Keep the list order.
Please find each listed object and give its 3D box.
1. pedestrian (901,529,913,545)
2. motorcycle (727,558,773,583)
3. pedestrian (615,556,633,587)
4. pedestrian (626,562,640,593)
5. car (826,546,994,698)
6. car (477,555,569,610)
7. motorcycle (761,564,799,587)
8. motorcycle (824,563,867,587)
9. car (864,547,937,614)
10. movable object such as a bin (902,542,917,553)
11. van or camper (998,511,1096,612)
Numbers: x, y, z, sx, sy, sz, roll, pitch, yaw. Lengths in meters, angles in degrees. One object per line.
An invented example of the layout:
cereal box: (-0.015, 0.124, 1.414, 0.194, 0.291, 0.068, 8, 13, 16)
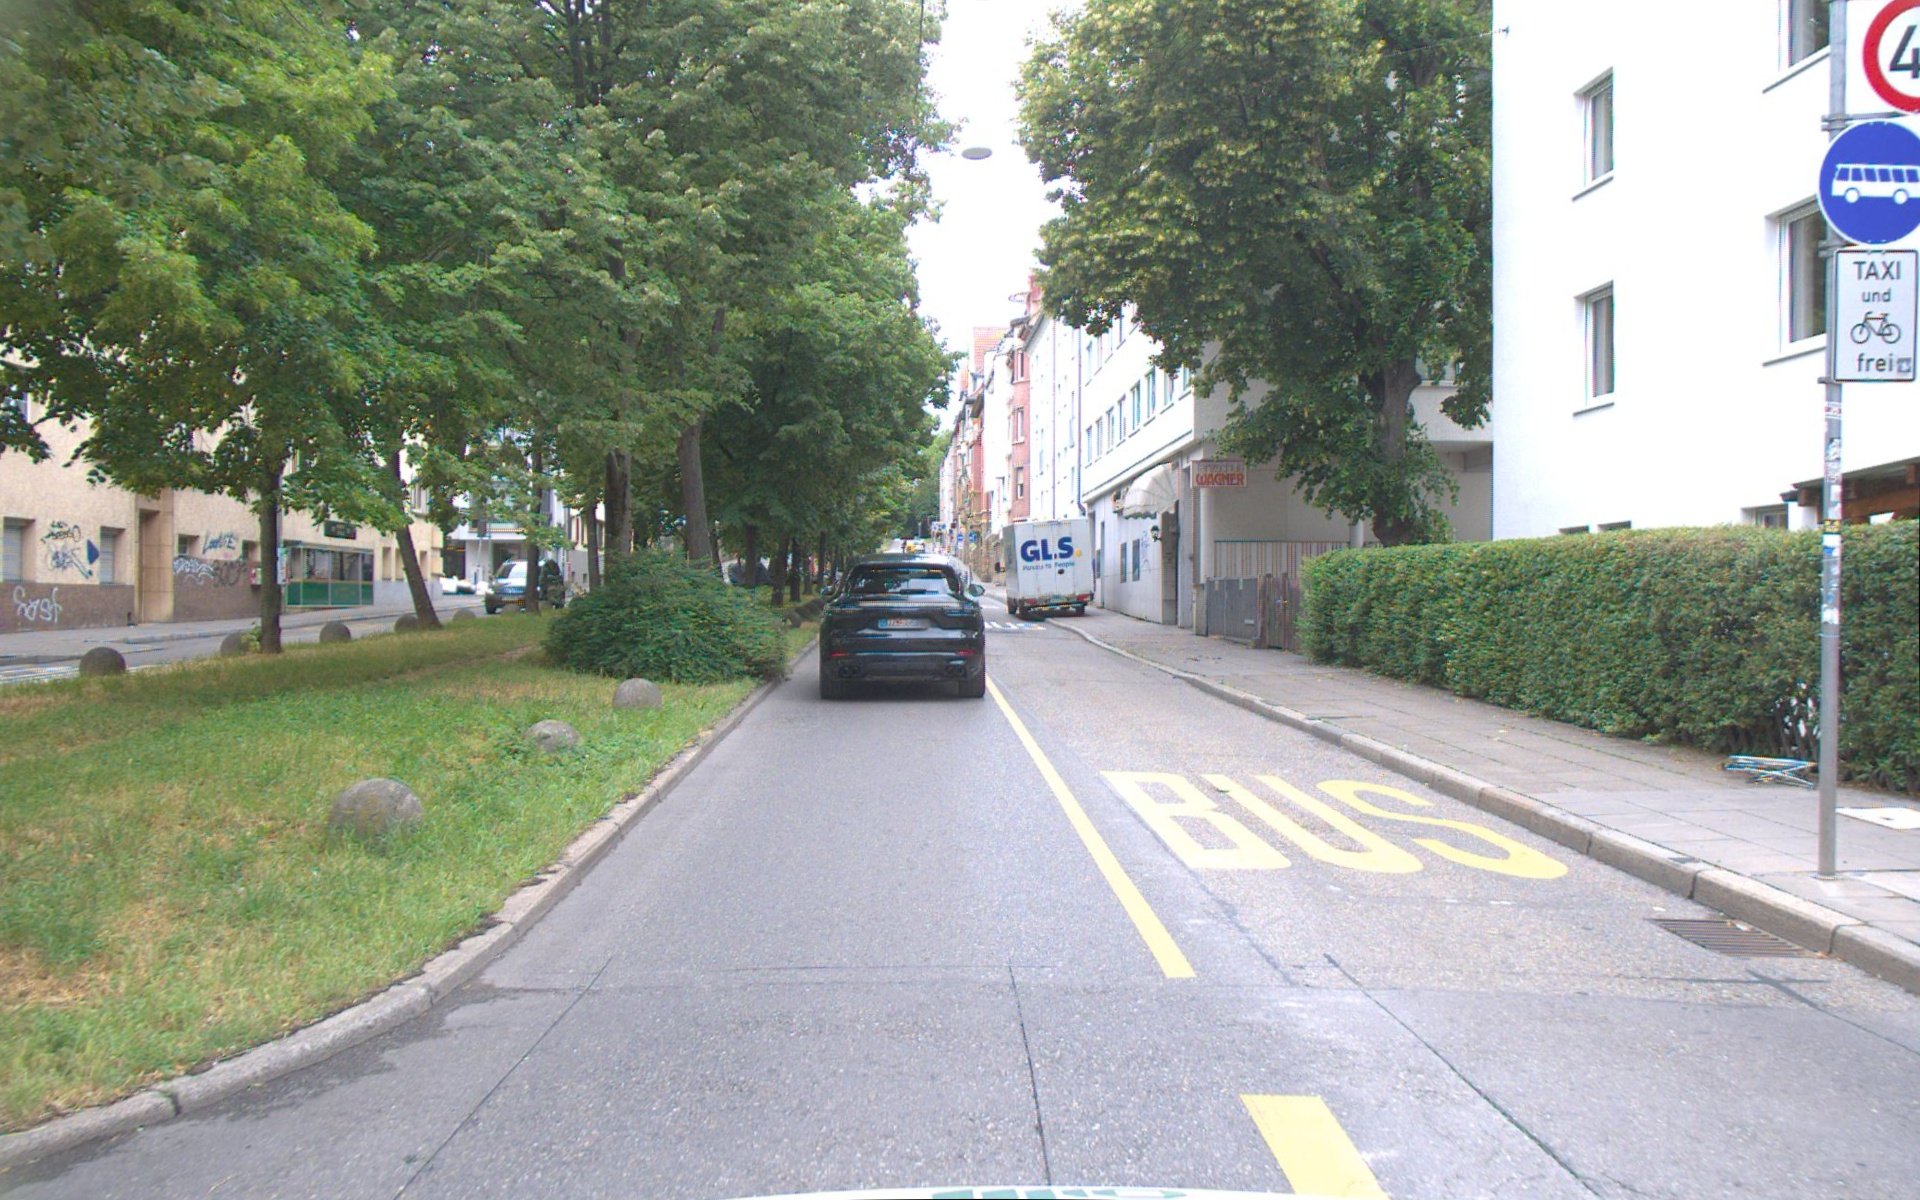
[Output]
pedestrian: (-6.560, -7.754, 203.899, 1.283, 2.048, 1.013, 0, 1, -22)
motorcycle: (-11.105, -1.559, 87.427, 2.335, 1.340, 1.045, 0, 1, -4)
pedestrian: (-17.893, -1.522, 88.003, 0.621, 1.641, 0.764, 2, 2, 18)
pedestrian: (-17.729, -1.216, 89.727, 0.649, 1.644, 0.579, 1, 1, 0)
car: (-0.679, 0.202, 20.515, 1.865, 1.695, 4.133, 0, 1, -4)
car: (-13.712, -0.591, 52.087, 1.910, 1.657, 4.363, 0, 1, -3)
motorcycle: (-9.879, -1.339, 90.865, 1.986, 1.257, 0.897, 0, 1, 3)
motorcycle: (-6.260, -1.356, 90.283, 2.309, 1.257, 1.033, 0, 2, -4)
car: (-1.661, -0.574, 46.377, 1.953, 1.784, 3.999, 0, 1, -2)
movable object such as a bin: (-6.207, -6.451, 202.739, 1.221, 1.296, 1.832, 0, 1, -25)
van or camper: (2.559, -1.178, 50.665, 2.430, 2.851, 7.237, 0, 1, -1)
